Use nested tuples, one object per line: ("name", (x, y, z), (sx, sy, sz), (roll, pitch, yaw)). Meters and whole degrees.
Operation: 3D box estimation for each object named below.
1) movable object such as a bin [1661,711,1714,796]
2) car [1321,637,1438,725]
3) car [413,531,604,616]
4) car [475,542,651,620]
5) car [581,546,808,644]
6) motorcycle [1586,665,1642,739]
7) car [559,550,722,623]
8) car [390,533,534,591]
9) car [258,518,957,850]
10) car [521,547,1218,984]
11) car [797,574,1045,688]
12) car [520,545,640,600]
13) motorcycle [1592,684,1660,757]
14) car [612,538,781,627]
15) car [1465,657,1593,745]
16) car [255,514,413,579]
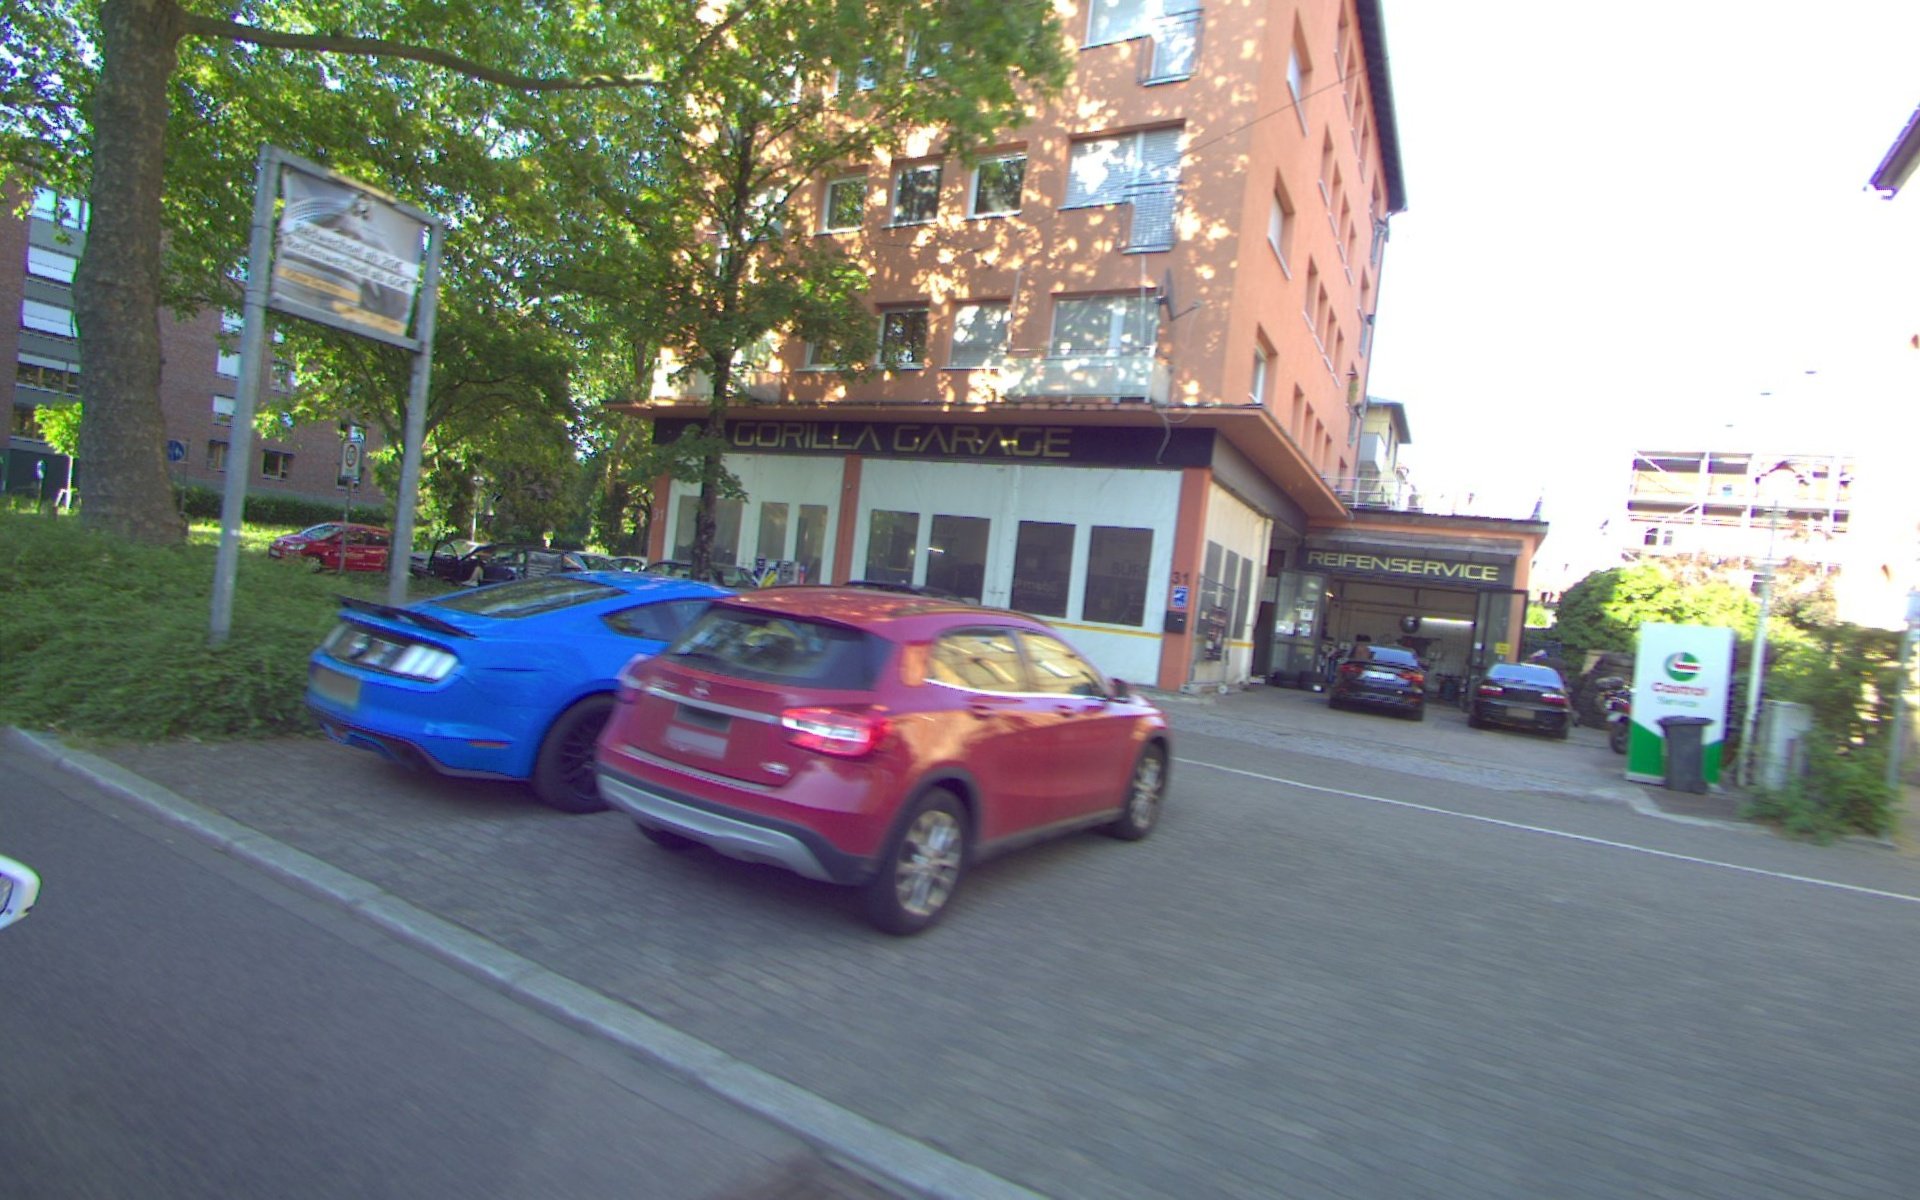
("movable object such as a bin", (9.056, 1.894, 12.534), (0.440, 0.952, 0.657), (6, 1, 35))
("car", (8.659, 1.602, 20.820), (1.907, 1.407, 3.997), (7, 0, 23))
("car", (-11.384, -0.669, 25.316), (4.496, 1.595, 1.793), (7, 1, 25))
("car", (-10.918, -0.521, 27.616), (4.496, 1.595, 1.793), (7, 1, 25))
("car", (-5.369, -0.118, 20.189), (4.393, 1.453, 1.750), (7, 1, 31))
("motorcycle", (14.975, 2.310, 23.016), (0.795, 1.501, 2.376), (7, 1, 36))
("car", (-9.424, -0.398, 29.590), (4.497, 1.595, 1.792), (7, 1, 26))
("car", (-16.218, -1.200, 32.940), (1.654, 1.471, 3.923), (7, 1, 28))
("car", (-2.120, 0.521, 7.236), (1.790, 1.562, 4.401), (7, 0, 37))
("car", (-0.104, 0.747, 6.257), (1.920, 1.562, 4.406), (7, 0, 32))
("car", (-0.714, 0.507, 17.565), (3.884, 1.453, 1.750), (7, 1, 31))
("car", (-13.970, -0.971, 37.184), (1.654, 1.601, 3.923), (7, 1, 28))
("motorcycle", (11.892, 2.106, 17.928), (0.795, 1.117, 2.376), (7, 1, 36))
("car", (-8.328, -0.572, 31.669), (4.996, 2.212, 1.915), (7, 1, 27))
("car", (11.327, 1.941, 20.289), (1.908, 1.343, 3.994), (7, 0, 27))
("car", (-18.392, -1.531, 29.689), (1.654, 1.471, 3.543), (7, 1, 28))
